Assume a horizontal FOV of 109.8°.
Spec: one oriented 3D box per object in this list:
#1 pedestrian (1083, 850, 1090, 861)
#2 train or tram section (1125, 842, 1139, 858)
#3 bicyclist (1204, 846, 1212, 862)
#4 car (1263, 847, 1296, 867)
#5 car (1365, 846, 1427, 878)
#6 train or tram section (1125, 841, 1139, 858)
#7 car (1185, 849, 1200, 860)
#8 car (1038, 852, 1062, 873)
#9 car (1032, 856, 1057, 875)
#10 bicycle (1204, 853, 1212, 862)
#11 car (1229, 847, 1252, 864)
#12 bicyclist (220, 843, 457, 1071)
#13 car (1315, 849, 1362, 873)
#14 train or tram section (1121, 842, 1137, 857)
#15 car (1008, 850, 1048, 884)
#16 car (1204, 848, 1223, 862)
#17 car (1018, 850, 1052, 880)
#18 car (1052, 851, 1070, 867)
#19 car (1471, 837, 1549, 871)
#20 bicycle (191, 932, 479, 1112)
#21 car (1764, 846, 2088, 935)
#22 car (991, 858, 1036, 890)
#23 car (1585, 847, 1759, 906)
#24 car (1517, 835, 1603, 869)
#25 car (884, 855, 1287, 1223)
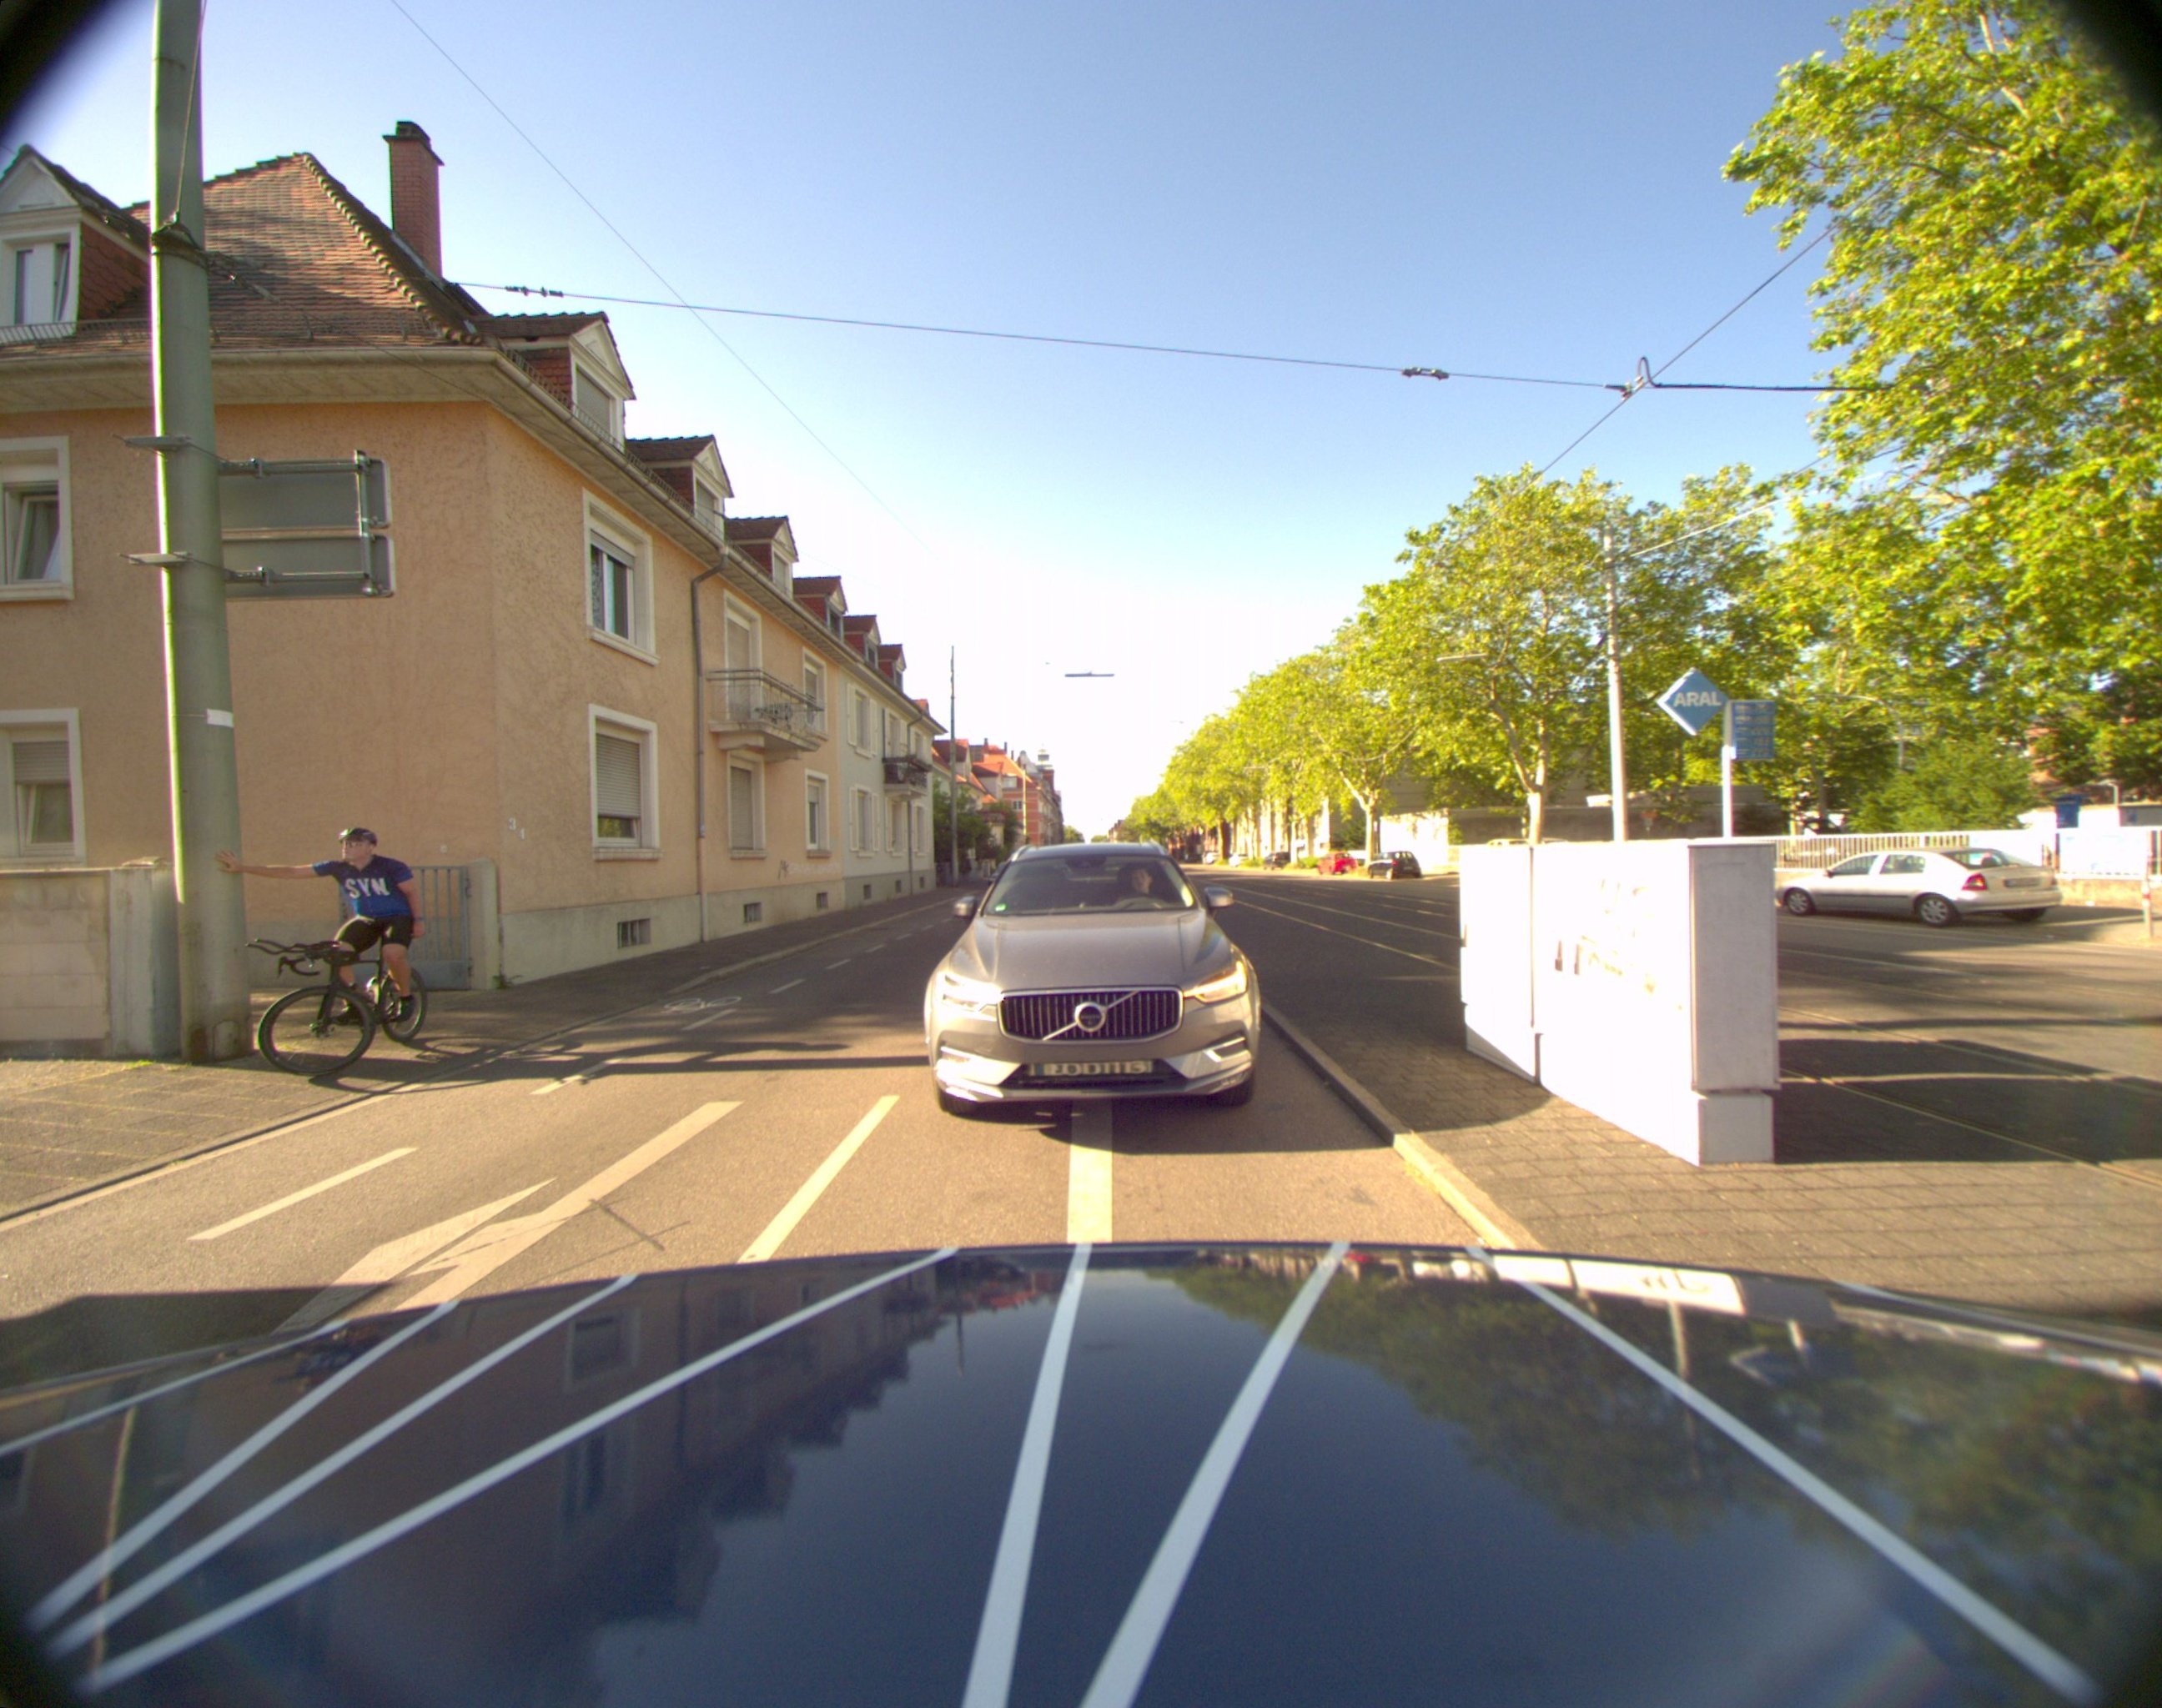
[{"bbox_3d":[0.999,0.313,141.565,1.104,2.002,1.242,-2,1,1],"label":"pedestrian"},{"bbox_3d":[11.682,-0.960,174.955,2.843,3.456,10.183,-2,1,2],"label":"train or tram section"},{"bbox_3d":[15.387,-0.026,92.088,0.720,1.853,1.071,-1,1,0],"label":"bicyclist"},{"bbox_3d":[17.176,0.223,65.899,1.845,1.607,4.098,-4,0,3],"label":"car"},{"bbox_3d":[16.972,0.407,41.090,1.845,1.524,4.001,-4,0,4],"label":"car"},{"bbox_3d":[11.021,-0.895,164.875,2.861,3.456,10.185,-1,0,4],"label":"train or tram section"},{"bbox_3d":[18.381,-0.007,125.413,1.845,1.664,4.098,-4,0,3],"label":"car"},{"bbox_3d":[-2.668,0.693,65.774,1.847,1.681,4.000,-1,0,0],"label":"car"},{"bbox_3d":[-2.872,0.858,60.410,1.808,1.402,3.999,-1,0,-1],"label":"car"},{"bbox_3d":[15.376,0.415,92.074,0.654,1.114,2.533,-1,0,1],"label":"bicycle"},{"bbox_3d":[17.499,0.116,83.547,1.845,1.664,4.098,-4,0,3],"label":"car"},{"bbox_3d":[-6.169,0.807,6.378,1.071,1.728,0.853,4,1,1],"label":"bicyclist"},{"bbox_3d":[16.968,0.444,50.314,1.845,1.400,4.001,-4,0,3],"label":"car"},{"bbox_3d":[11.718,-1.116,185.079,2.844,3.456,10.180,-2,1,-2],"label":"train or tram section"},{"bbox_3d":[-2.908,0.682,42.361,1.847,1.742,4.144,-1,0,0],"label":"car"},{"bbox_3d":[17.605,0.075,100.909,1.845,1.664,4.098,-4,0,3],"label":"car"},{"bbox_3d":[-2.784,0.635,46.774,1.847,1.681,4.000,-1,0,0],"label":"car"},{"bbox_3d":[-2.234,0.549,85.488,1.999,1.641,4.658,-1,0,-1],"label":"car"},{"bbox_3d":[21.754,-0.029,38.717,1.845,1.524,4.001,-4,0,4],"label":"car"},{"bbox_3d":[-5.926,1.273,6.200,0.594,1.045,1.719,4,1,1],"label":"bicycle"},{"bbox_3d":[16.238,0.615,14.980,1.846,1.400,3.999,-4,0,-1],"label":"car"},{"bbox_3d":[-3.225,0.944,36.981,1.847,1.412,3.999,-1,0,-1],"label":"car"},{"bbox_3d":[16.521,0.566,21.553,1.845,1.400,4.138,-4,0,4],"label":"car"},{"bbox_3d":[24.048,-0.112,38.339,1.845,1.524,4.000,-4,0,2],"label":"car"},{"bbox_3d":[0.003,0.886,5.792,1.892,1.695,4.318,-1,0,-1],"label":"car"}]
